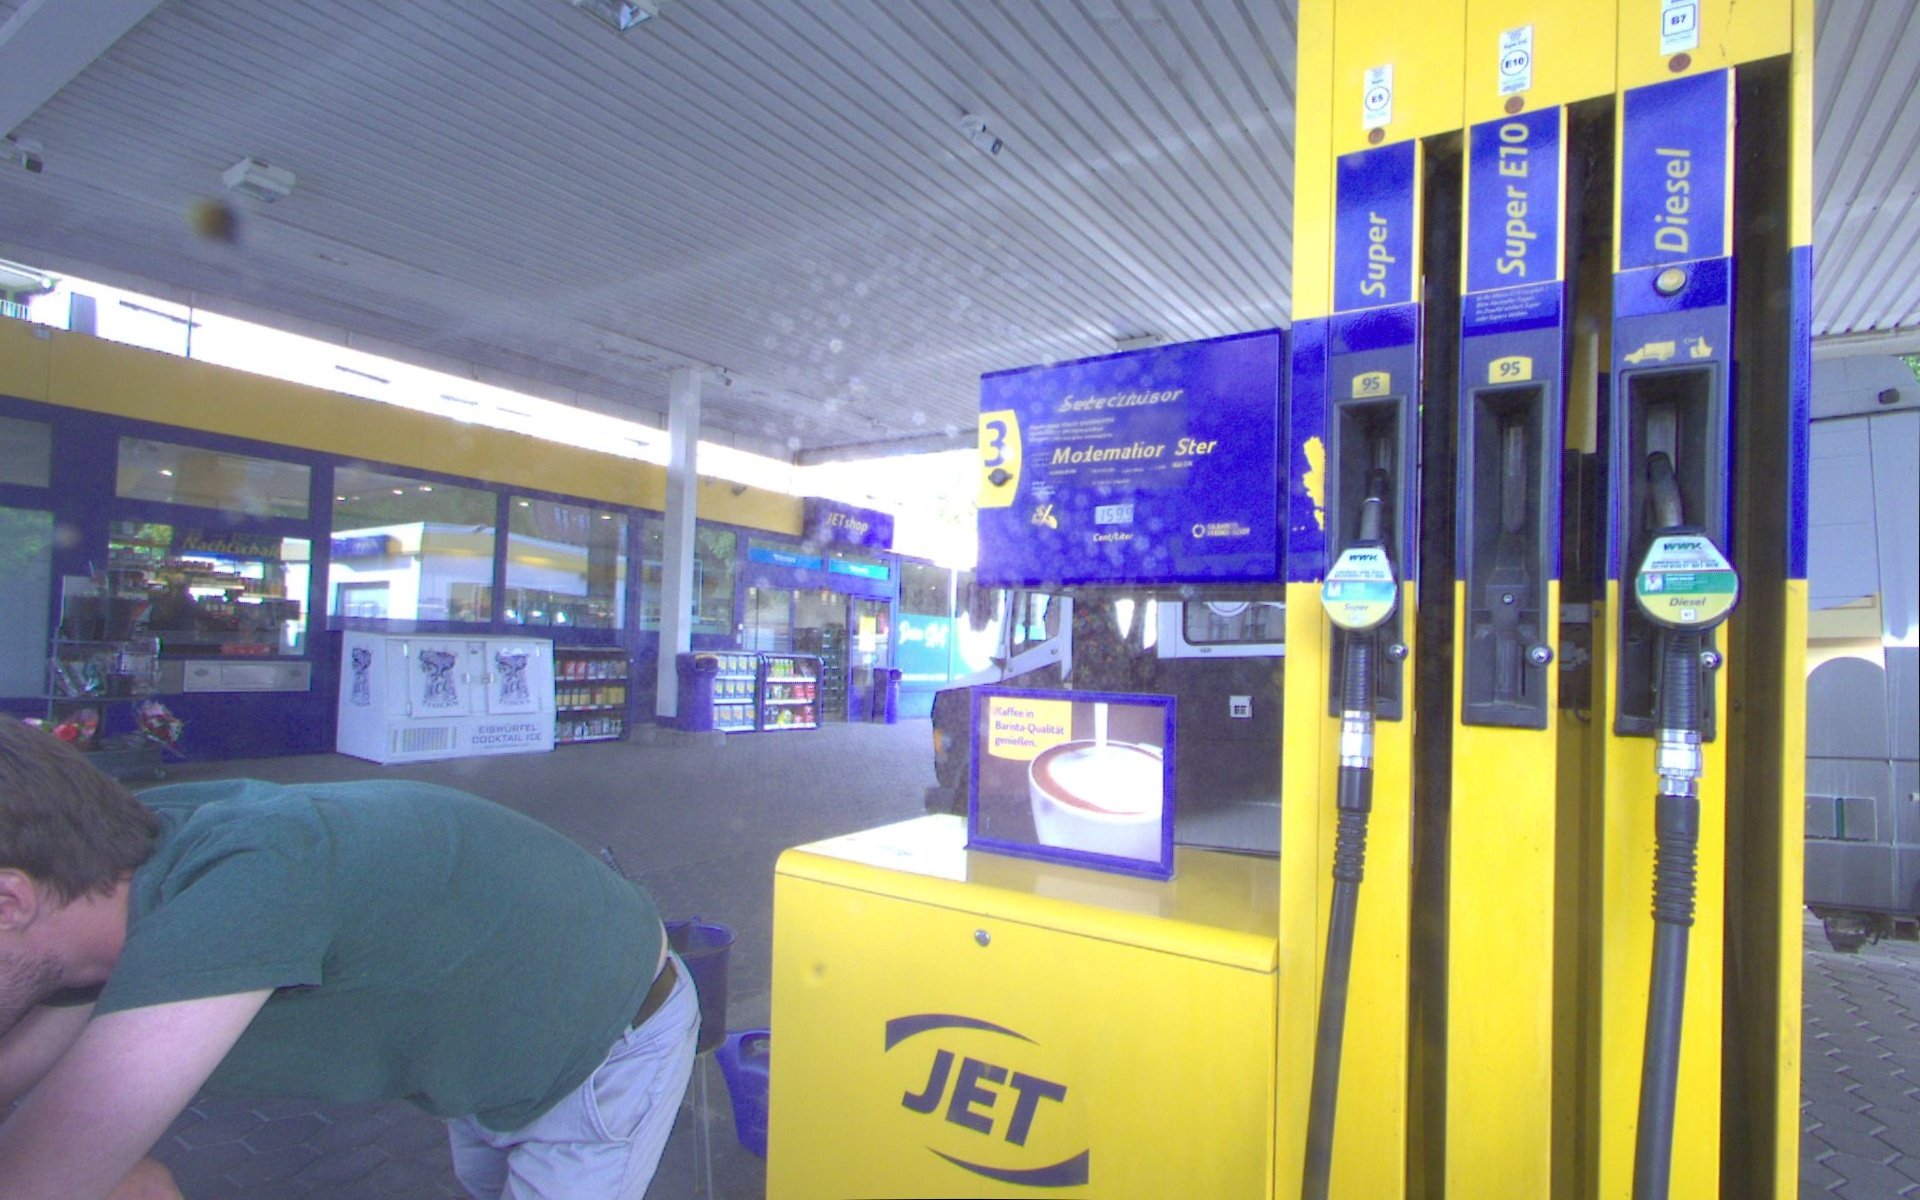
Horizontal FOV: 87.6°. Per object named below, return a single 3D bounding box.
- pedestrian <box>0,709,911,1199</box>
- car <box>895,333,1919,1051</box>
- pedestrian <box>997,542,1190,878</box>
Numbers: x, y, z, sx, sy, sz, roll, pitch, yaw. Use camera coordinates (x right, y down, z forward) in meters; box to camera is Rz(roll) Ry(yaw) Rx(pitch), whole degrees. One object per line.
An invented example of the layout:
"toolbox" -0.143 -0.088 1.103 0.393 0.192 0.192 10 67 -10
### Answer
"pedestrian" -0.533 0.803 1.074 0.664 1.298 0.749 -1 -1 31
"car" 2.390 0.408 6.019 5.219 2.724 2.250 0 -3 34
"pedestrian" 0.730 0.601 5.831 0.961 1.785 0.981 0 -1 -2
